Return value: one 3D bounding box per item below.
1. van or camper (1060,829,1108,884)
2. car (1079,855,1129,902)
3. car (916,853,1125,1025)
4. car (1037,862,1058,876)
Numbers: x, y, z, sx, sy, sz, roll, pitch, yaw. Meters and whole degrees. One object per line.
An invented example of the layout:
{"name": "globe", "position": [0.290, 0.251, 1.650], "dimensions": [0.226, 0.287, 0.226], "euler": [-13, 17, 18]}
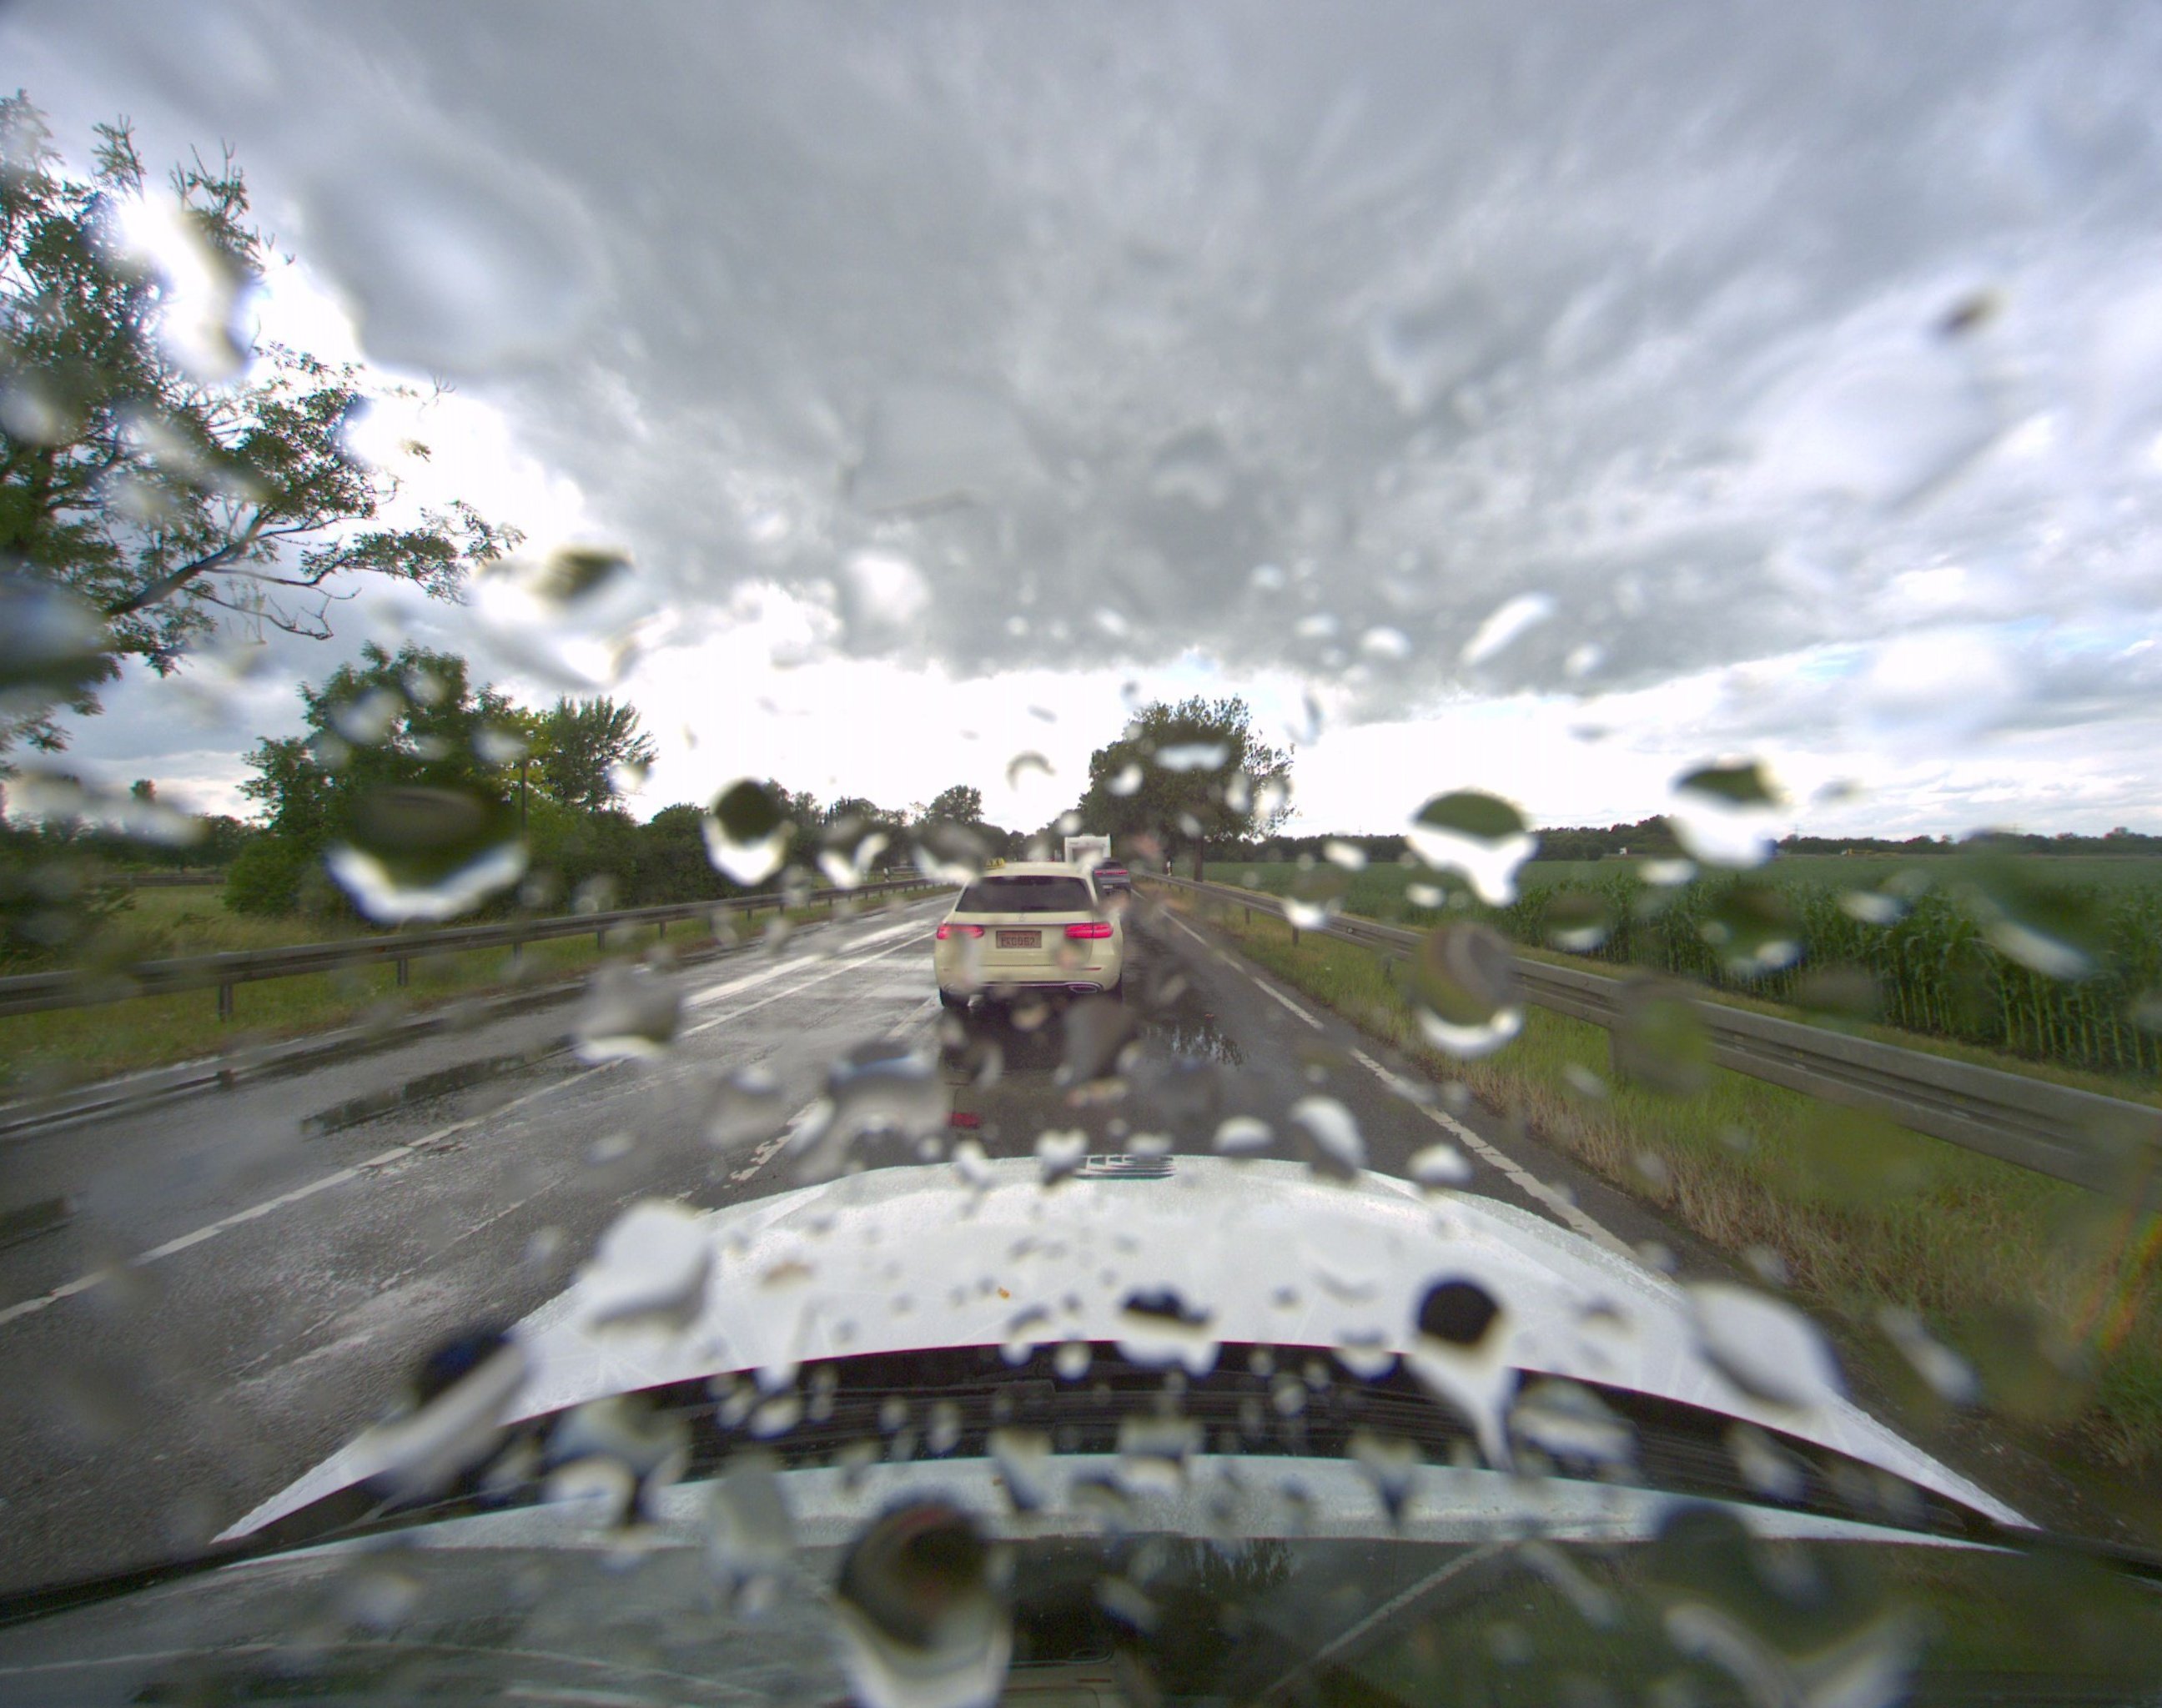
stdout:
{"name": "van or camper", "position": [0.234, 0.119, 42.638], "dimensions": [2.342, 2.680, 5.770], "euler": [0, 0, 1]}
{"name": "car", "position": [0.799, 0.805, 28.668], "dimensions": [1.621, 1.529, 3.933], "euler": [-1, 0, 1]}
{"name": "car", "position": [-0.441, 0.765, 9.252], "dimensions": [1.818, 1.485, 4.148], "euler": [-1, 0, 2]}
{"name": "car", "position": [-3.160, 1.377, 77.690], "dimensions": [1.752, 1.269, 4.001], "euler": [-1, 0, 1]}
